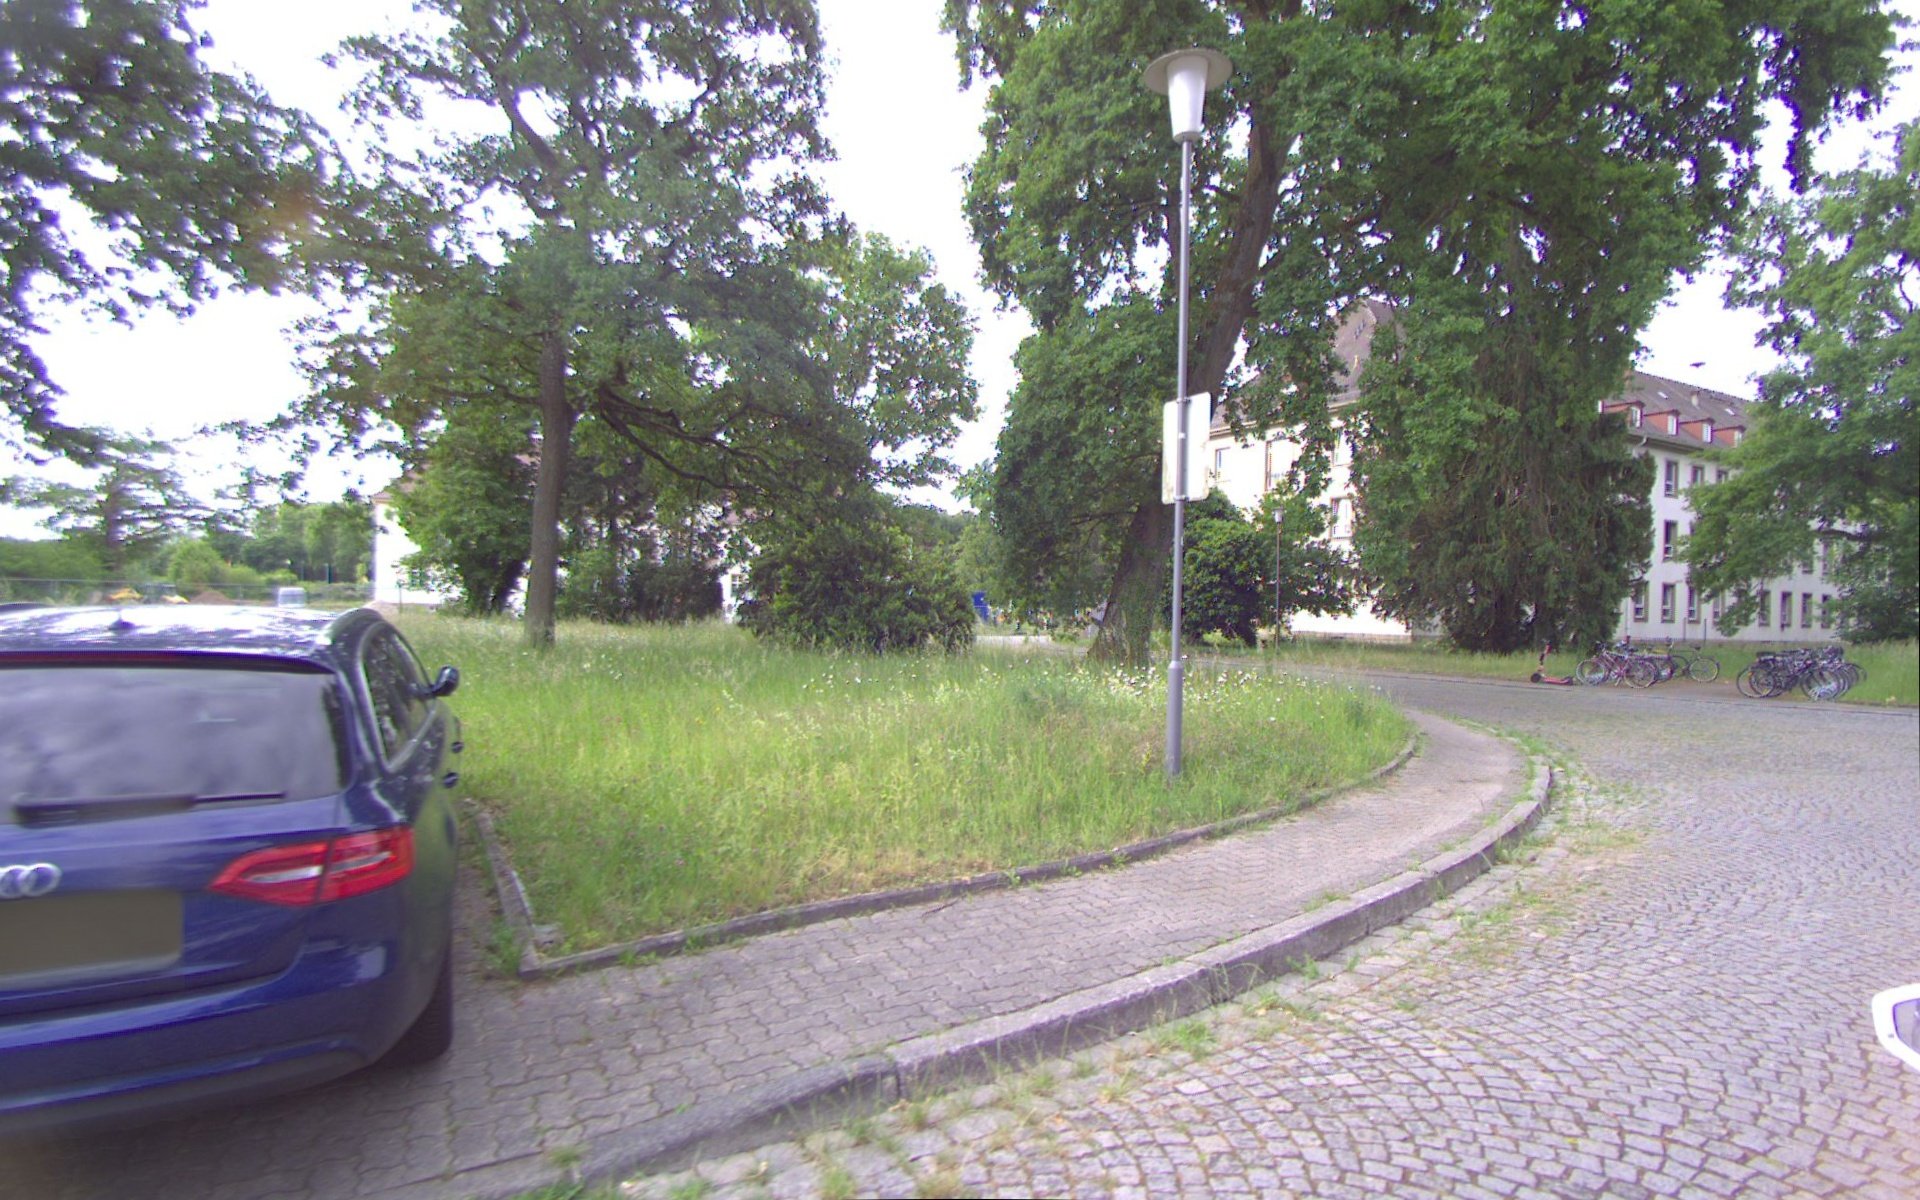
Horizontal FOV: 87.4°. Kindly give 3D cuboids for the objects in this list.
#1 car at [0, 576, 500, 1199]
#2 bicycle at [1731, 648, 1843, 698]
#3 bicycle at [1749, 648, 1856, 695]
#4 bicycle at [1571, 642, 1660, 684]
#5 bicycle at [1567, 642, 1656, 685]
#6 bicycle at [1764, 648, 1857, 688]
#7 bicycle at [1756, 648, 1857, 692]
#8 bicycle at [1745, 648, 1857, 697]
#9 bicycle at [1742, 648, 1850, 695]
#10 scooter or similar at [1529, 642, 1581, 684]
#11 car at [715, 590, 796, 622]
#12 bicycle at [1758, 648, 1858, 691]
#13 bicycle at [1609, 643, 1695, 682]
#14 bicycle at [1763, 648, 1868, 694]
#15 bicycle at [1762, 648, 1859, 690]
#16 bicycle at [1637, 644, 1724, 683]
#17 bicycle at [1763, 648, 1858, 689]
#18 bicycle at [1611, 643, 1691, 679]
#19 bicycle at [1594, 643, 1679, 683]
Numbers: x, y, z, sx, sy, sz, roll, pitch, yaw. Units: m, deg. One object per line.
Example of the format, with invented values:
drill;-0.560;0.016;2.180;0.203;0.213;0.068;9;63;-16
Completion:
car;-2.997;0.680;3.928;1.950;1.480;4.285;1;1;-28
bicycle;18.731;1.627;22.782;1.935;1.002;0.624;1;-1;41
bicycle;20.377;1.707;24.346;1.933;1.002;0.624;1;-1;39
bicycle;17.435;1.670;26.727;1.933;1.002;0.624;1;-1;39
bicycle;17.079;1.652;26.371;1.931;1.002;0.625;1;-1;35
bicycle;23.606;1.875;27.916;1.933;1.002;0.624;1;-1;39
bicycle;21.508;1.766;25.578;1.933;1.002;0.624;1;-1;39
bicycle;19.277;1.649;23.069;1.933;1.002;0.624;1;-1;39
bicycle;19.890;1.685;23.949;1.933;1.002;0.624;1;-1;39
scooter or similar;15.874;1.668;26.836;0.445;1.052;1.351;2;0;-8
car;-14.311;0.448;70.387;5.163;2.040;1.986;2;-1;-27
bicycle;21.920;1.787;26.023;1.933;1.002;0.624;1;-1;39
bicycle;19.777;1.780;28.737;0.622;1.002;1.942;2;-1;-39
bicycle;21.100;1.739;24.827;1.933;1.002;0.624;1;-1;39
bicycle;22.720;1.828;26.879;1.933;1.002;0.624;1;-1;39
bicycle;20.773;1.814;28.988;0.622;1.002;1.942;2;-1;-39
bicycle;23.112;1.849;27.335;1.933;1.002;0.624;1;-1;39
bicycle;21.294;1.869;30.978;1.937;1.002;0.623;1;-1;44
bicycle;18.736;1.731;27.865;1.931;1.002;0.625;1;-1;35
